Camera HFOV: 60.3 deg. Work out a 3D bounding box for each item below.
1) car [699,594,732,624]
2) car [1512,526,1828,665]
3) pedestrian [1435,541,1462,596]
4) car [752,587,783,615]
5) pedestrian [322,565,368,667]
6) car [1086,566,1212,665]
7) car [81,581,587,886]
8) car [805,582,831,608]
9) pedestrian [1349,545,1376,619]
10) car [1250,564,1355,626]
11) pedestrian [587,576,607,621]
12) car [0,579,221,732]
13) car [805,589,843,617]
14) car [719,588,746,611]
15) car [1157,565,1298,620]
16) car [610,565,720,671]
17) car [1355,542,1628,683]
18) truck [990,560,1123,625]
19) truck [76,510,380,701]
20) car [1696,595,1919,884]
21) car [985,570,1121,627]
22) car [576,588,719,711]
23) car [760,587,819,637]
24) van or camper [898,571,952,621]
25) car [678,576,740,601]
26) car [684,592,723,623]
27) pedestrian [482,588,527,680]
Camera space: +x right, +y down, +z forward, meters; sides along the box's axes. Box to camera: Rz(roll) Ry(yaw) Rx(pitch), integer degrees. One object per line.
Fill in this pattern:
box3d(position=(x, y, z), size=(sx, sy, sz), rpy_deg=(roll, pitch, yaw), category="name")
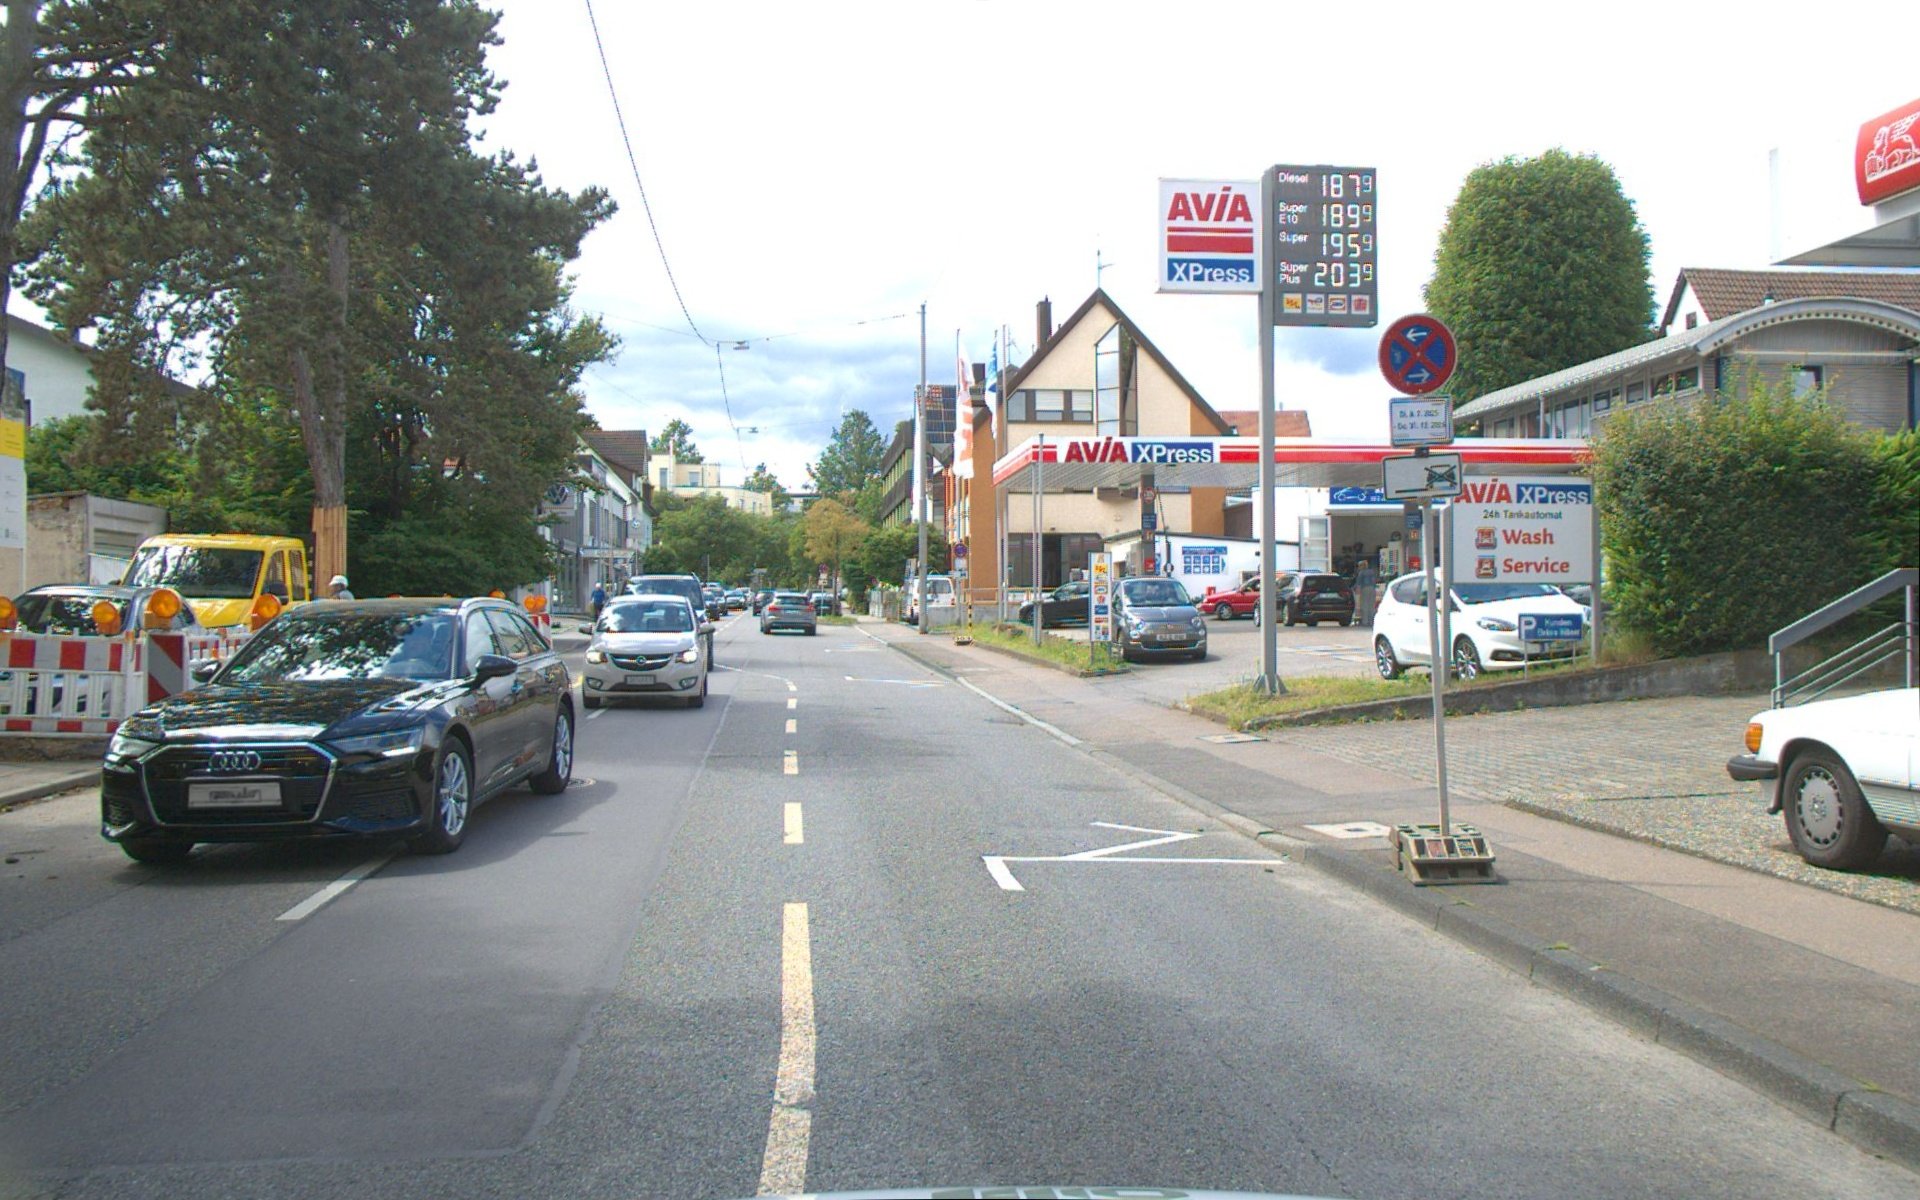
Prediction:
box3d(position=(-14.323, 0.501, 96.983), size=(1.796, 1.658, 4.314), rpy_deg=(-1, 1, -7), category="car")
box3d(position=(9.428, -0.032, 22.439), size=(1.680, 1.569, 4.648), rpy_deg=(-4, 0, -8), category="car")
box3d(position=(16.817, -1.072, 56.958), size=(0.662, 1.877, 0.681), rpy_deg=(0, -1, 40), category="pedestrian")
box3d(position=(-11.101, 0.057, 95.236), size=(1.585, 1.550, 3.562), rpy_deg=(-1, 0, -9), category="car")
box3d(position=(-9.612, 0.252, 25.865), size=(0.563, 1.574, 0.653), rpy_deg=(1, -1, -12), category="pedestrian")
box3d(position=(3.562, 0.270, 31.846), size=(1.584, 1.623, 4.156), rpy_deg=(-6, 1, -3), category="car")
box3d(position=(-3.747, 0.697, 10.840), size=(1.783, 1.550, 4.557), rpy_deg=(-1, 0, -3), category="car")
box3d(position=(-9.394, -0.321, 109.620), size=(1.657, 1.695, 4.457), rpy_deg=(-1, 0, -5), category="car")
box3d(position=(10.885, -0.489, 44.697), size=(0.574, 1.969, 0.539), rpy_deg=(0, -1, 30), category="pedestrian")
box3d(position=(9.404, -0.093, 45.788), size=(1.598, 1.637, 4.566), rpy_deg=(0, -1, -5), category="car")
box3d(position=(-14.464, -0.049, 65.890), size=(0.670, 1.767, 0.867), rpy_deg=(1, -1, -7), category="pedestrian")
box3d(position=(-9.537, 0.558, 18.436), size=(1.595, 1.534, 3.573), rpy_deg=(1, 0, -11), category="car")
box3d(position=(-7.443, 0.193, 90.218), size=(1.946, 1.473, 4.745), rpy_deg=(-1, 0, -6), category="car")
box3d(position=(-16.048, -0.010, 116.444), size=(1.797, 1.550, 4.162), rpy_deg=(-1, 0, -9), category="car")
box3d(position=(8.933, -0.232, 55.072), size=(4.495, 1.747, 1.827), rpy_deg=(1, -1, 13), category="car")
box3d(position=(-6.058, 0.302, 33.618), size=(1.876, 1.986, 4.896), rpy_deg=(-1, 1, -14), category="car")
box3d(position=(6.832, 0.172, 21.773), size=(1.605, 1.555, 4.194), rpy_deg=(-4, 0, -9), category="car")
box3d(position=(3.814, -0.308, 65.918), size=(4.990, 2.500, 2.354), rpy_deg=(0, 1, -7), category="truck")
box3d(position=(-10.597, 0.105, 24.607), size=(2.261, 2.462, 6.086), rpy_deg=(1, -1, -5), category="truck")
box3d(position=(5.443, 0.641, 7.387), size=(1.752, 1.339, 4.471), rpy_deg=(-1, 0, -9), category="car")
box3d(position=(3.109, -0.049, 55.740), size=(4.223, 1.658, 1.633), rpy_deg=(-3, 1, 29), category="car")
box3d(position=(-4.242, 0.640, 22.878), size=(1.583, 1.550, 3.566), rpy_deg=(-1, 0, -5), category="car")
box3d(position=(-6.159, 0.461, 59.423), size=(1.919, 1.550, 4.319), rpy_deg=(1, -4, -9), category="car")
box3d(position=(-1.537, -0.148, 70.752), size=(1.831, 2.067, 4.540), rpy_deg=(1, -1, -7), category="van or camper")
box3d(position=(-22.967, -1.031, 151.275), size=(5.101, 2.028, 2.110), rpy_deg=(-2, 0, 12), category="car")
box3d(position=(-12.857, 0.354, 83.108), size=(1.707, 1.454, 4.518), rpy_deg=(-1, 0, -6), category="car")
box3d(position=(-8.149, 0.601, 29.597), size=(0.561, 1.629, 0.534), rpy_deg=(0, -1, 38), category="pedestrian")
